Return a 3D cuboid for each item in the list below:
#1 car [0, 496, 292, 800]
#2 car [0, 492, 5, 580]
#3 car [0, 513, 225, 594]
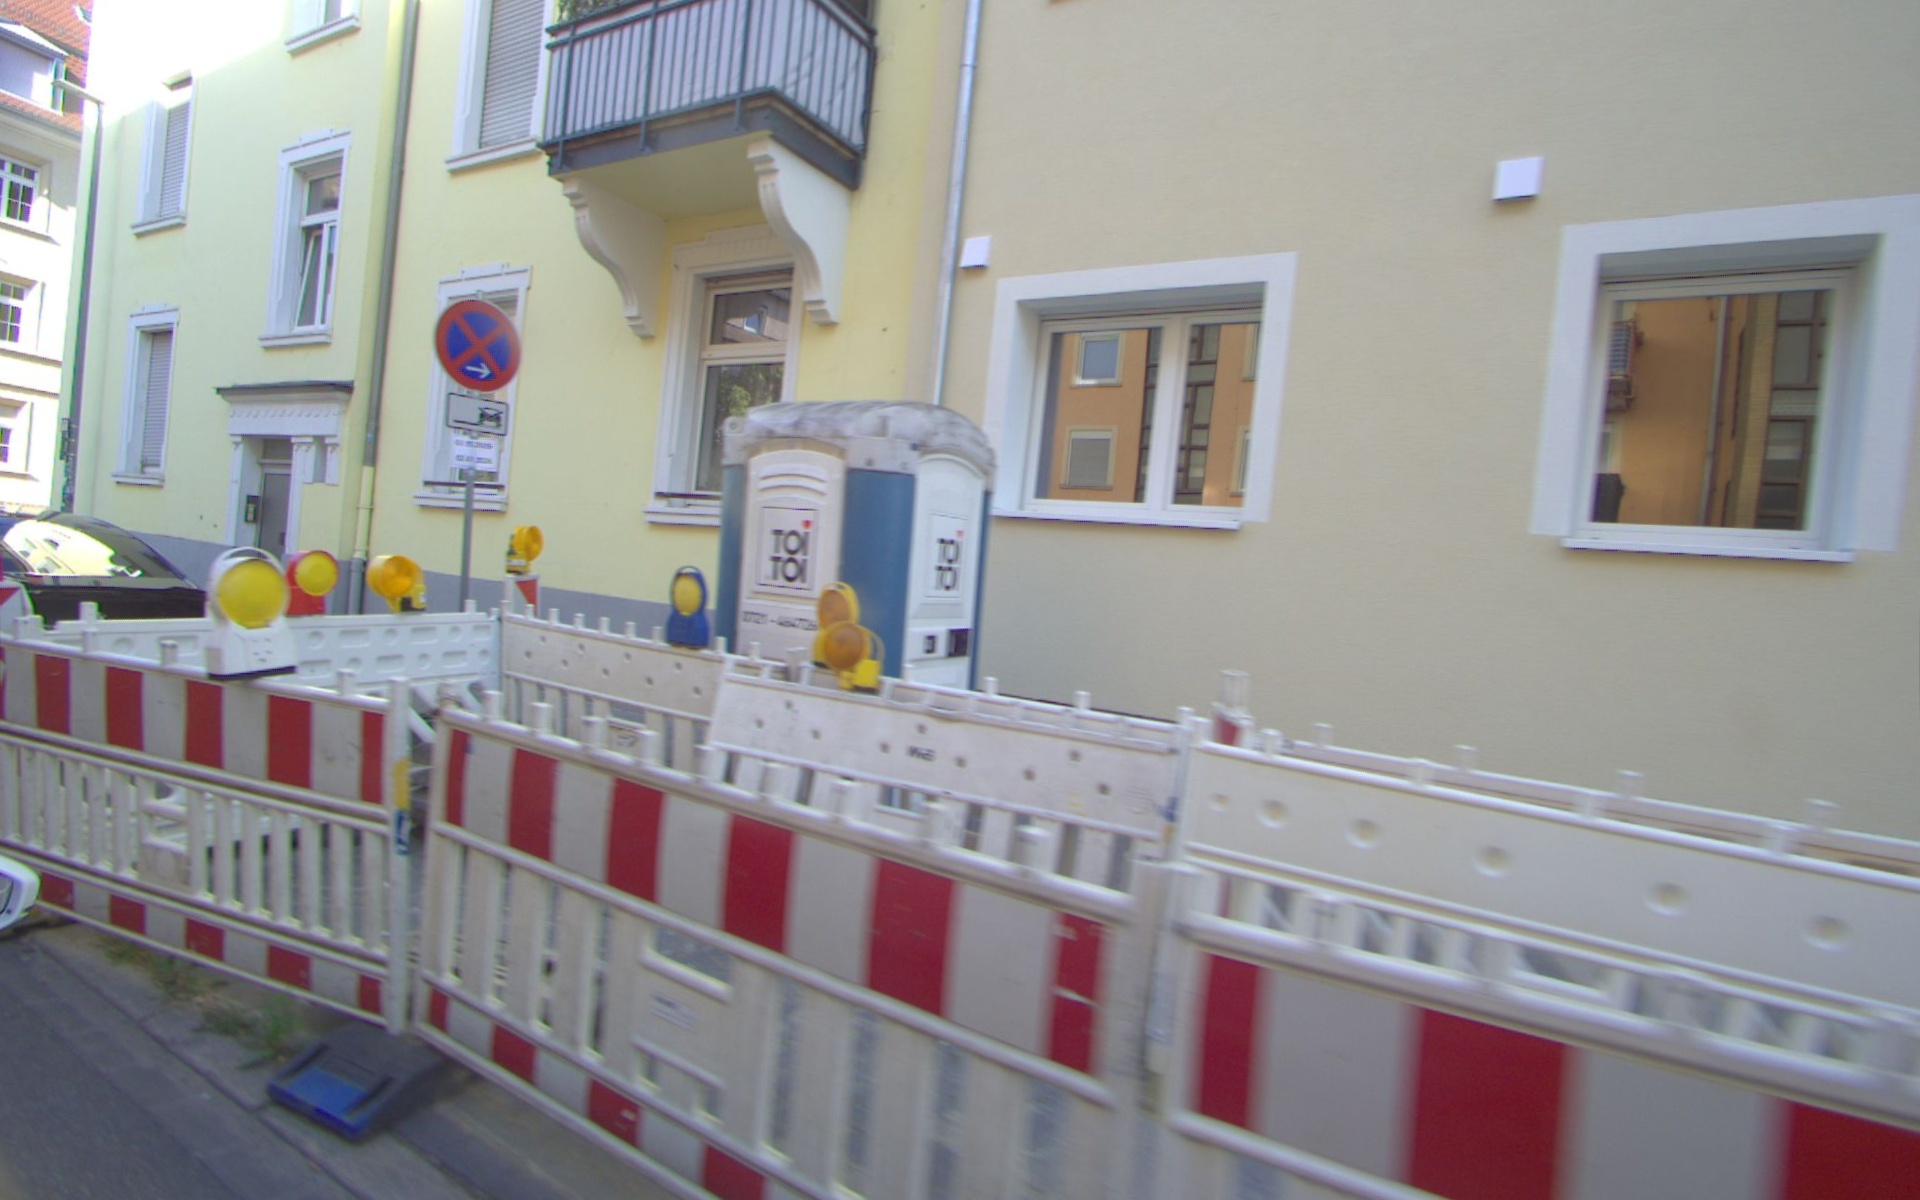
[{"bbox_3d":[-6.652,0.036,6.568,5.026,1.490,1.802,6,1,31],"label":"car"},{"bbox_3d":[-11.105,-0.474,9.557,4.014,1.490,1.764,6,1,29],"label":"car"},{"bbox_3d":[-21.460,-1.111,25.188,1.796,1.485,4.550,4,-2,25],"label":"car"}]
